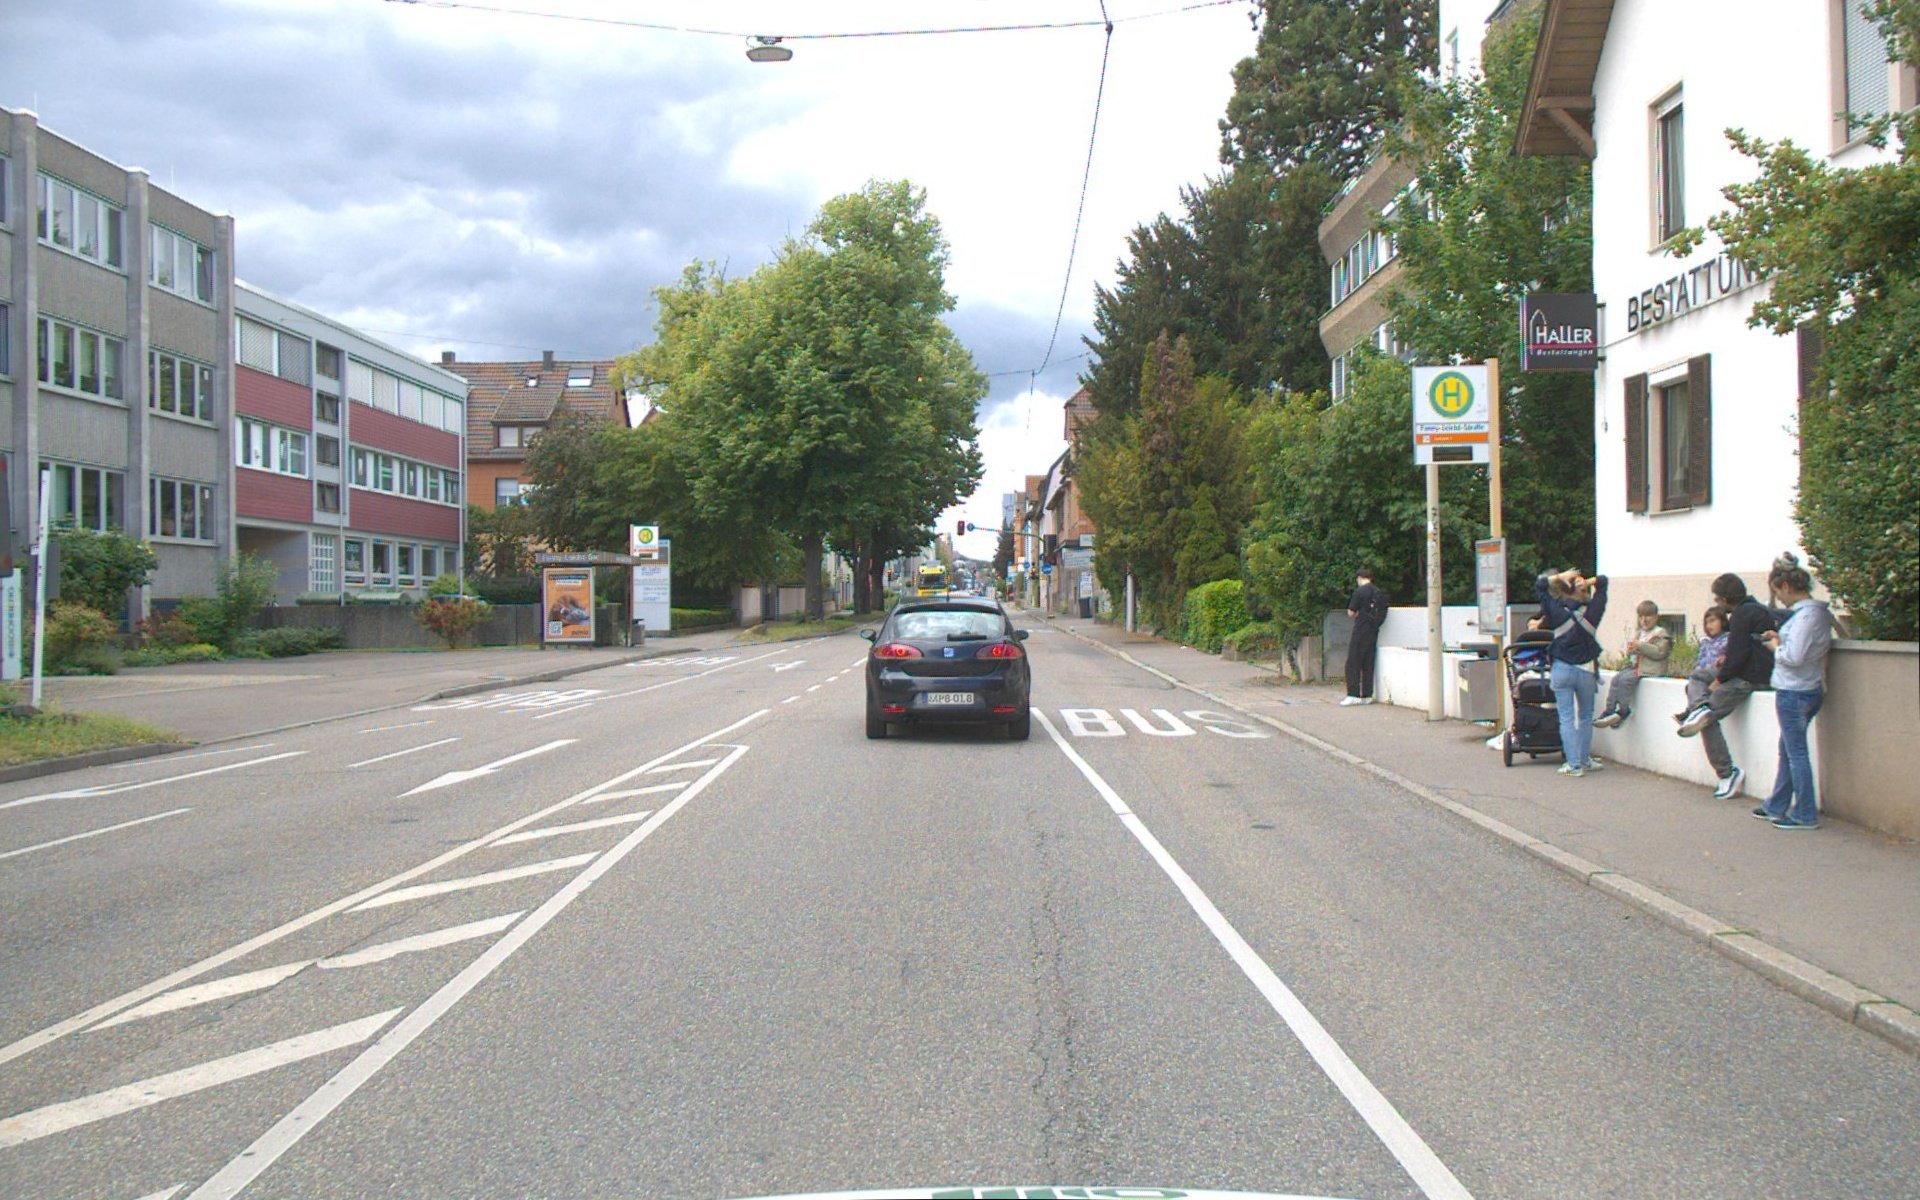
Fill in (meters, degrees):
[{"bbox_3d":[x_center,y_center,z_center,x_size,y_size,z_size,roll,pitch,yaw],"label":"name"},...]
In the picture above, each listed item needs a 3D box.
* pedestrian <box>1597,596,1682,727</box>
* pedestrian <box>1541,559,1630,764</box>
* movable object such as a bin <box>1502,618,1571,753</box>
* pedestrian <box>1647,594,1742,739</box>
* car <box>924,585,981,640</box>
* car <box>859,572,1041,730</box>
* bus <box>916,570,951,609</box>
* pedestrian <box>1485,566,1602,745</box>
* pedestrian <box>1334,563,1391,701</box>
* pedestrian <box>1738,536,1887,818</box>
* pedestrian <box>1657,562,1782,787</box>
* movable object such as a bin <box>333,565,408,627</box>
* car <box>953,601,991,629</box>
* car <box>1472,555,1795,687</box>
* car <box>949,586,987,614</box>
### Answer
[{"bbox_3d":[5.296,0.474,12.907,0.445,0.981,0.382,-3,0,-6],"label":"pedestrian"},{"bbox_3d":[4.810,0.469,12.734,0.538,1.543,0.362,-2,0,9],"label":"pedestrian"},{"bbox_3d":[4.799,0.703,13.753,0.432,1.076,0.568,-3,0,26],"label":"movable object such as a bin"},{"bbox_3d":[5.181,0.461,11.675,0.445,0.981,0.382,-3,0,-6],"label":"pedestrian"},{"bbox_3d":[-0.202,0.393,54.771,1.781,1.729,4.253,0,0,1],"label":"car"},{"bbox_3d":[-0.196,0.508,18.081,1.724,1.474,3.712,3,0,-3],"label":"car"},{"bbox_3d":[-2.205,-0.850,139.476,2.810,3.191,6.396,0,0,-1],"label":"bus"},{"bbox_3d":[5.146,0.479,14.605,0.764,1.526,0.604,-1,-1,-6],"label":"pedestrian"},{"bbox_3d":[5.168,0.411,21.258,0.574,1.742,0.529,-1,-1,-1],"label":"pedestrian"},{"bbox_3d":[5.002,0.440,9.723,0.533,1.582,0.470,-3,0,-9],"label":"pedestrian"},{"bbox_3d":[5.115,0.491,11.138,0.609,1.452,0.510,-3,0,38],"label":"pedestrian"},{"bbox_3d":[-19.795,-0.121,55.560,1.953,2.049,1.542,0,0,-1],"label":"movable object such as a bin"},{"bbox_3d":[0.745,0.924,101.438,1.951,1.713,4.002,0,-1,6],"label":"car"},{"bbox_3d":[9.708,0.296,24.038,3.907,1.820,1.887,0,-1,-3],"label":"car"},{"bbox_3d":[0.409,-0.011,89.630,1.902,1.507,4.251,0,0,-2],"label":"car"}]
